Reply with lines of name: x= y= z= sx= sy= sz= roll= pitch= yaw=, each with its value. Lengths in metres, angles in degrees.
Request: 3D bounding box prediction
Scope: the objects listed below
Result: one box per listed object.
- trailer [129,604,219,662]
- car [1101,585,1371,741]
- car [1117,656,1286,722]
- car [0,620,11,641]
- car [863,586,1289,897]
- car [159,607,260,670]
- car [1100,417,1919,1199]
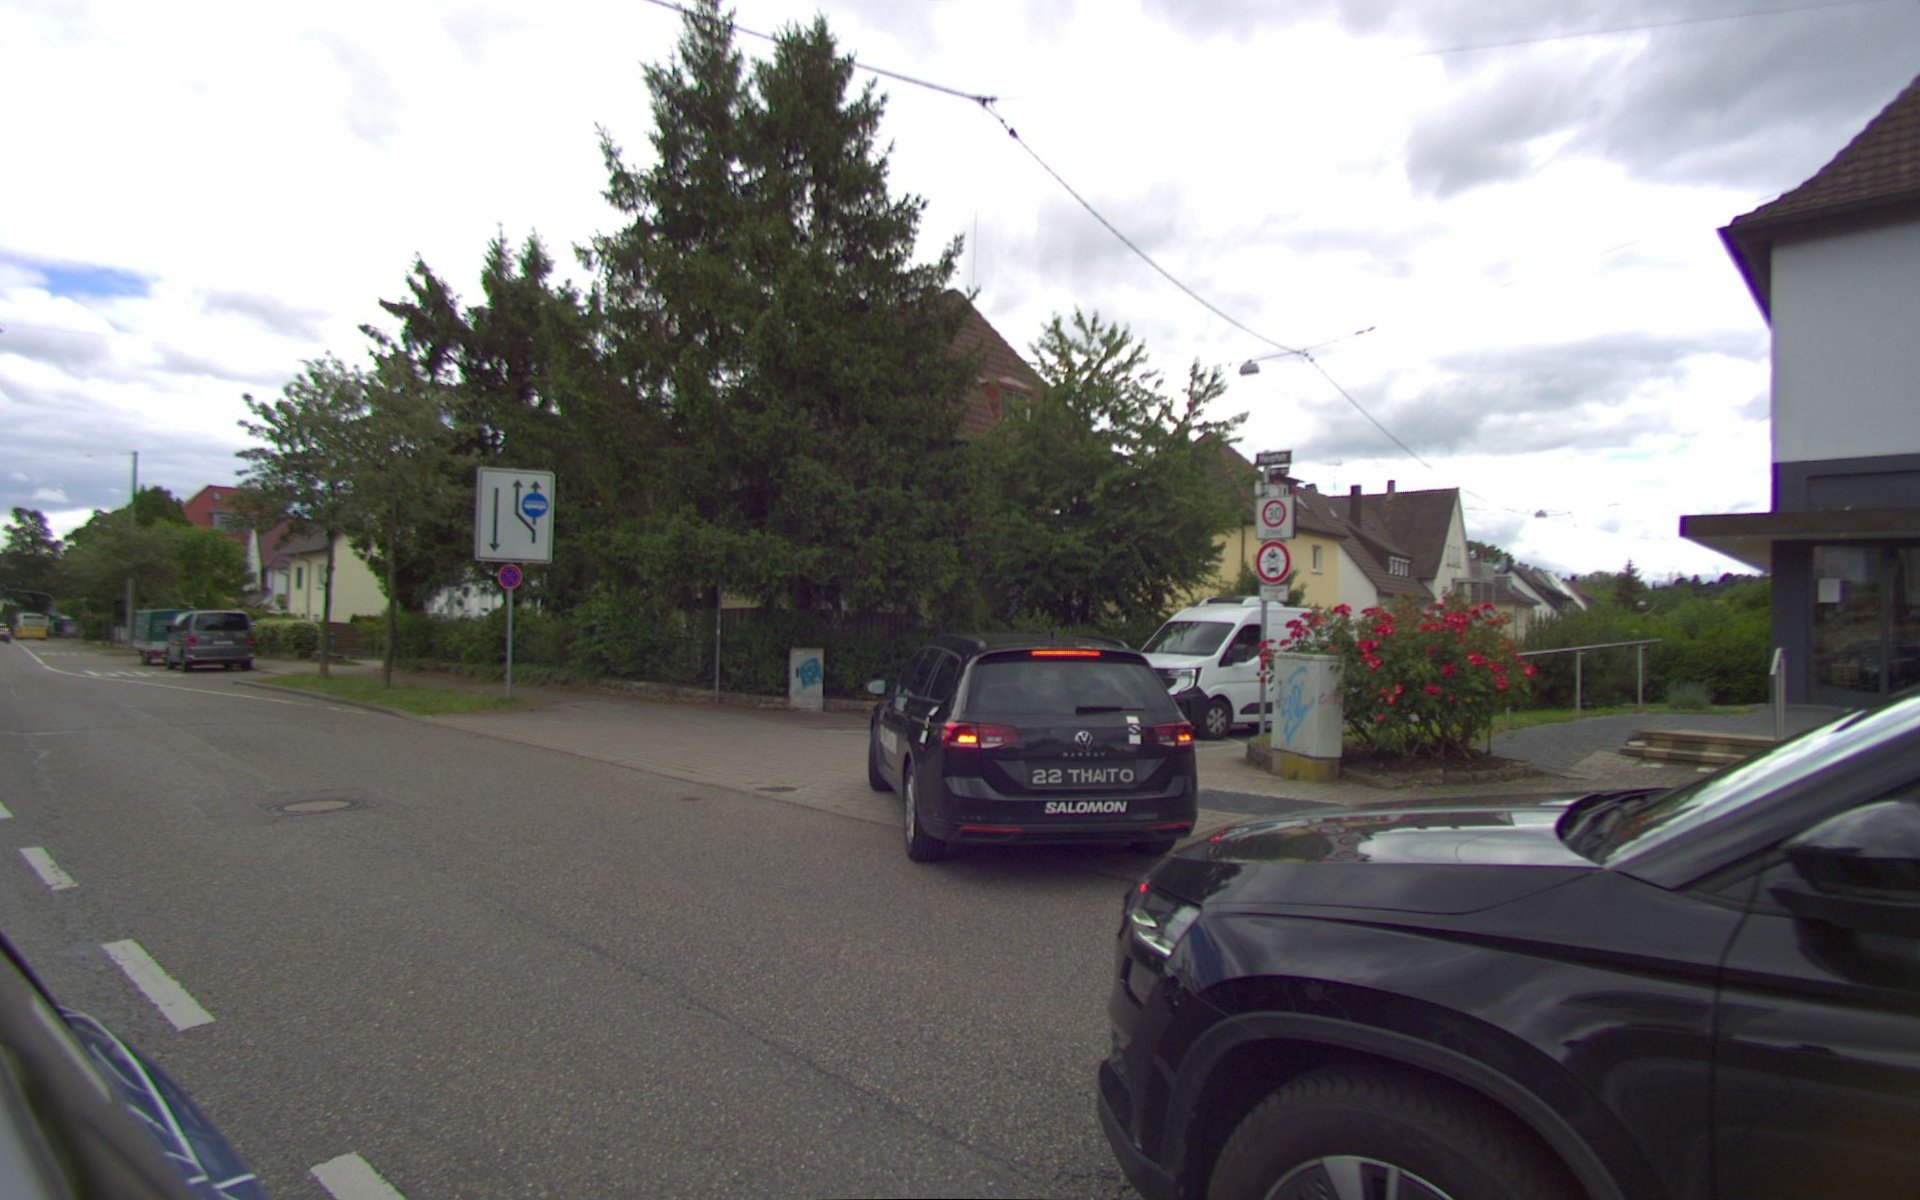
trailer: x=-30.399 y=1.270 z=39.084 sx=4.427 sy=2.104 sz=2.130 roll=-2 pitch=-3 yaw=44
car: x=5.416 y=1.219 z=19.403 sx=5.533 sy=2.583 sz=2.134 roll=4 pitch=-3 yaw=-39
car: x=5.529 y=2.006 z=22.906 sx=4.071 sy=1.364 sz=1.799 roll=5 pitch=-6 yaw=-44
car: x=-78.675 y=2.438 z=82.447 sx=1.799 sy=1.615 sz=4.303 roll=6 pitch=-5 yaw=-43
car: x=0.450 y=0.832 z=7.792 sx=1.967 sy=1.633 sz=4.657 roll=1 pitch=-2 yaw=-10
car: x=-25.368 y=1.287 z=34.142 sx=4.900 sy=1.964 sz=1.971 roll=-2 pitch=-3 yaw=45
car: x=2.366 y=0.618 z=1.329 sx=4.001 sy=1.637 sz=1.874 roll=-1 pitch=-3 yaw=44
